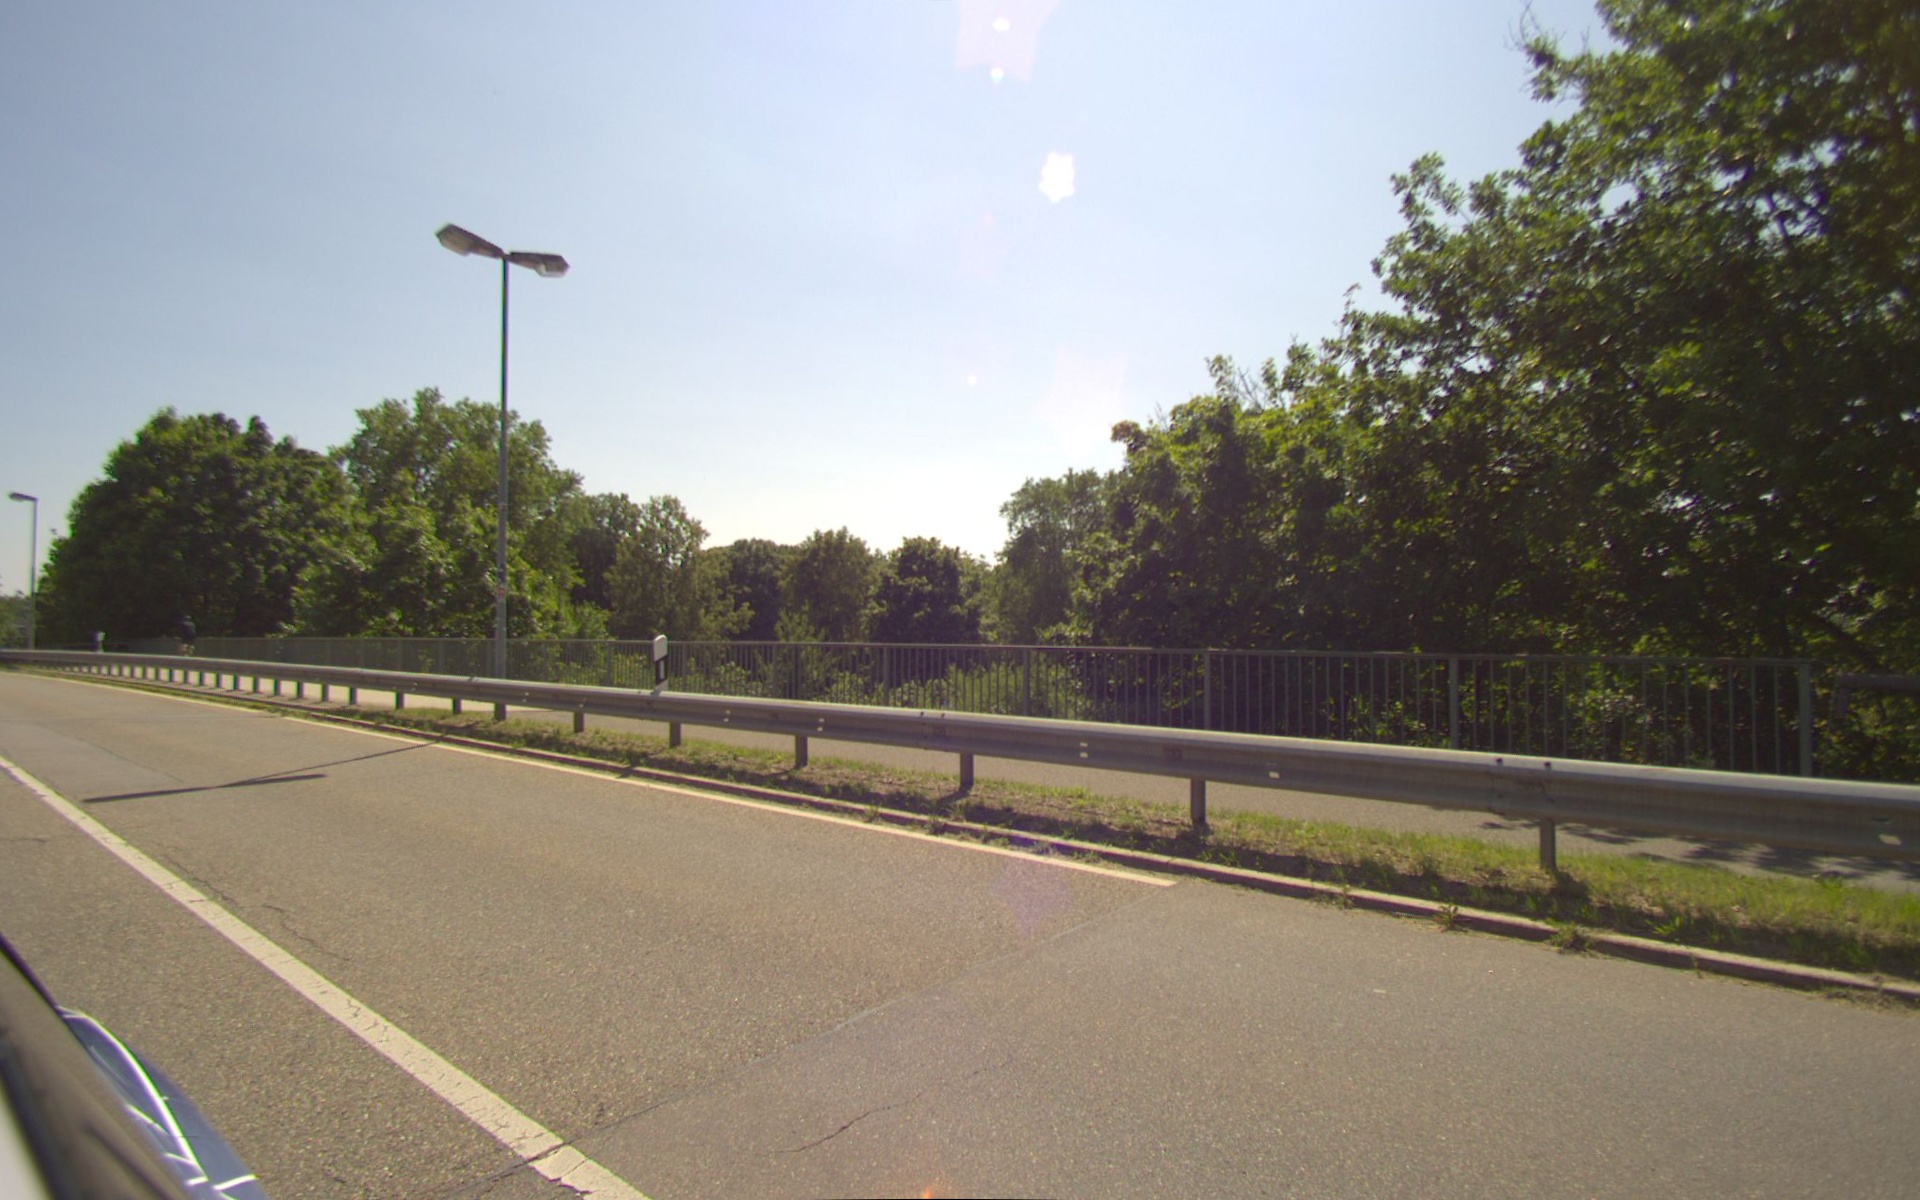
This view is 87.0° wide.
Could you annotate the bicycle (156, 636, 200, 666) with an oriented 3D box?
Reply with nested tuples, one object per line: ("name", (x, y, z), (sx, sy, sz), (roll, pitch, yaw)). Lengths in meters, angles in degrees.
("bicycle", (-26.953, 1.746, 34.870), (2.115, 1.009, 0.671), (-2, -3, 38))

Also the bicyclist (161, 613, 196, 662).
("bicyclist", (-26.909, 1.298, 34.846), (0.894, 1.646, 0.758), (-2, -3, 37))
